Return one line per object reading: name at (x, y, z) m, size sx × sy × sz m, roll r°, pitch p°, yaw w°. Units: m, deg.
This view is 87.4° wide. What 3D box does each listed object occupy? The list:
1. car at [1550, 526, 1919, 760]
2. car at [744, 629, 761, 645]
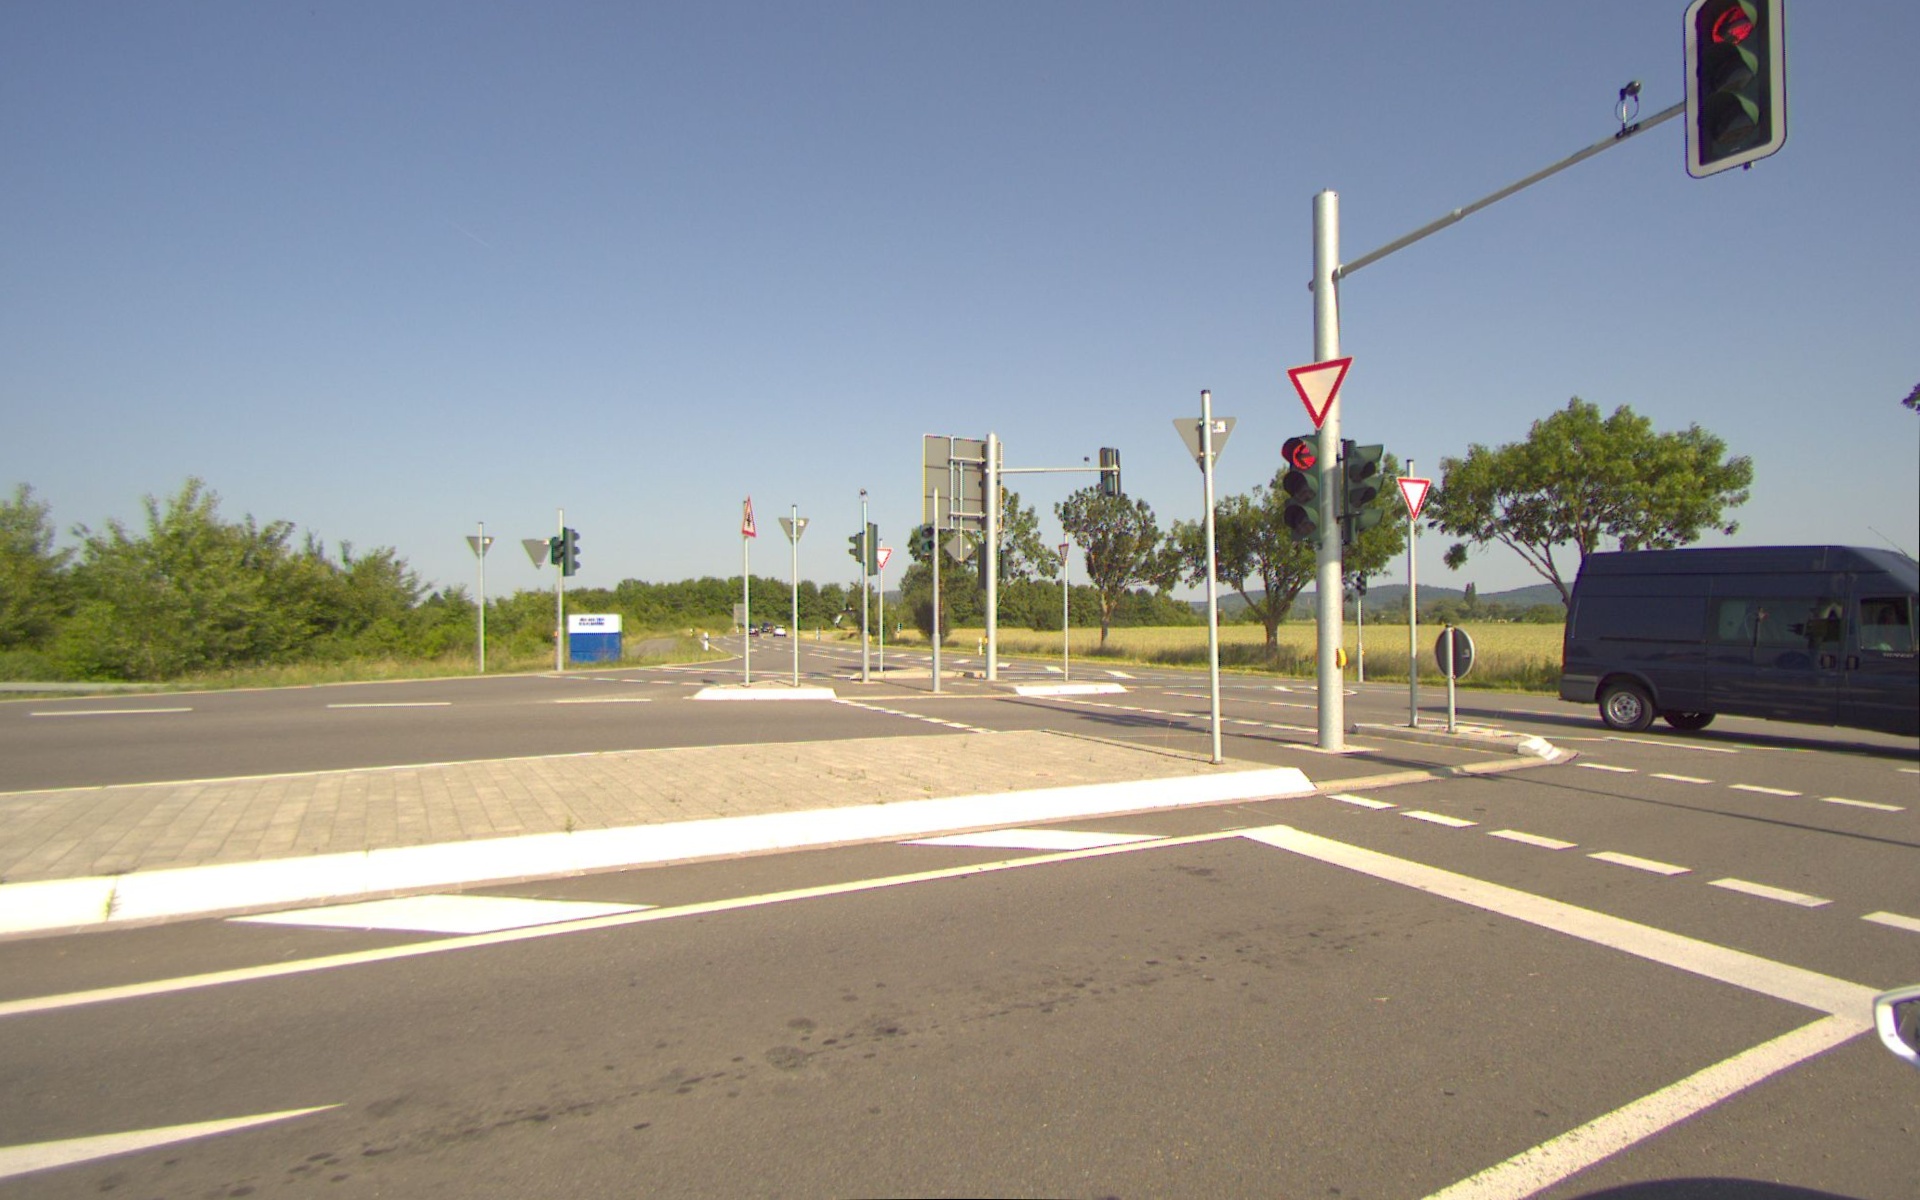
car at (11.147, 0.546, 13.148) m, size 2.009 × 2.656 × 5.708 m, roll 2°, pitch -2°, yaw -28°
car at (-26.942, 4.779, 130.163) m, size 1.966 × 1.746 × 4.606 m, roll 2°, pitch 0°, yaw -13°
